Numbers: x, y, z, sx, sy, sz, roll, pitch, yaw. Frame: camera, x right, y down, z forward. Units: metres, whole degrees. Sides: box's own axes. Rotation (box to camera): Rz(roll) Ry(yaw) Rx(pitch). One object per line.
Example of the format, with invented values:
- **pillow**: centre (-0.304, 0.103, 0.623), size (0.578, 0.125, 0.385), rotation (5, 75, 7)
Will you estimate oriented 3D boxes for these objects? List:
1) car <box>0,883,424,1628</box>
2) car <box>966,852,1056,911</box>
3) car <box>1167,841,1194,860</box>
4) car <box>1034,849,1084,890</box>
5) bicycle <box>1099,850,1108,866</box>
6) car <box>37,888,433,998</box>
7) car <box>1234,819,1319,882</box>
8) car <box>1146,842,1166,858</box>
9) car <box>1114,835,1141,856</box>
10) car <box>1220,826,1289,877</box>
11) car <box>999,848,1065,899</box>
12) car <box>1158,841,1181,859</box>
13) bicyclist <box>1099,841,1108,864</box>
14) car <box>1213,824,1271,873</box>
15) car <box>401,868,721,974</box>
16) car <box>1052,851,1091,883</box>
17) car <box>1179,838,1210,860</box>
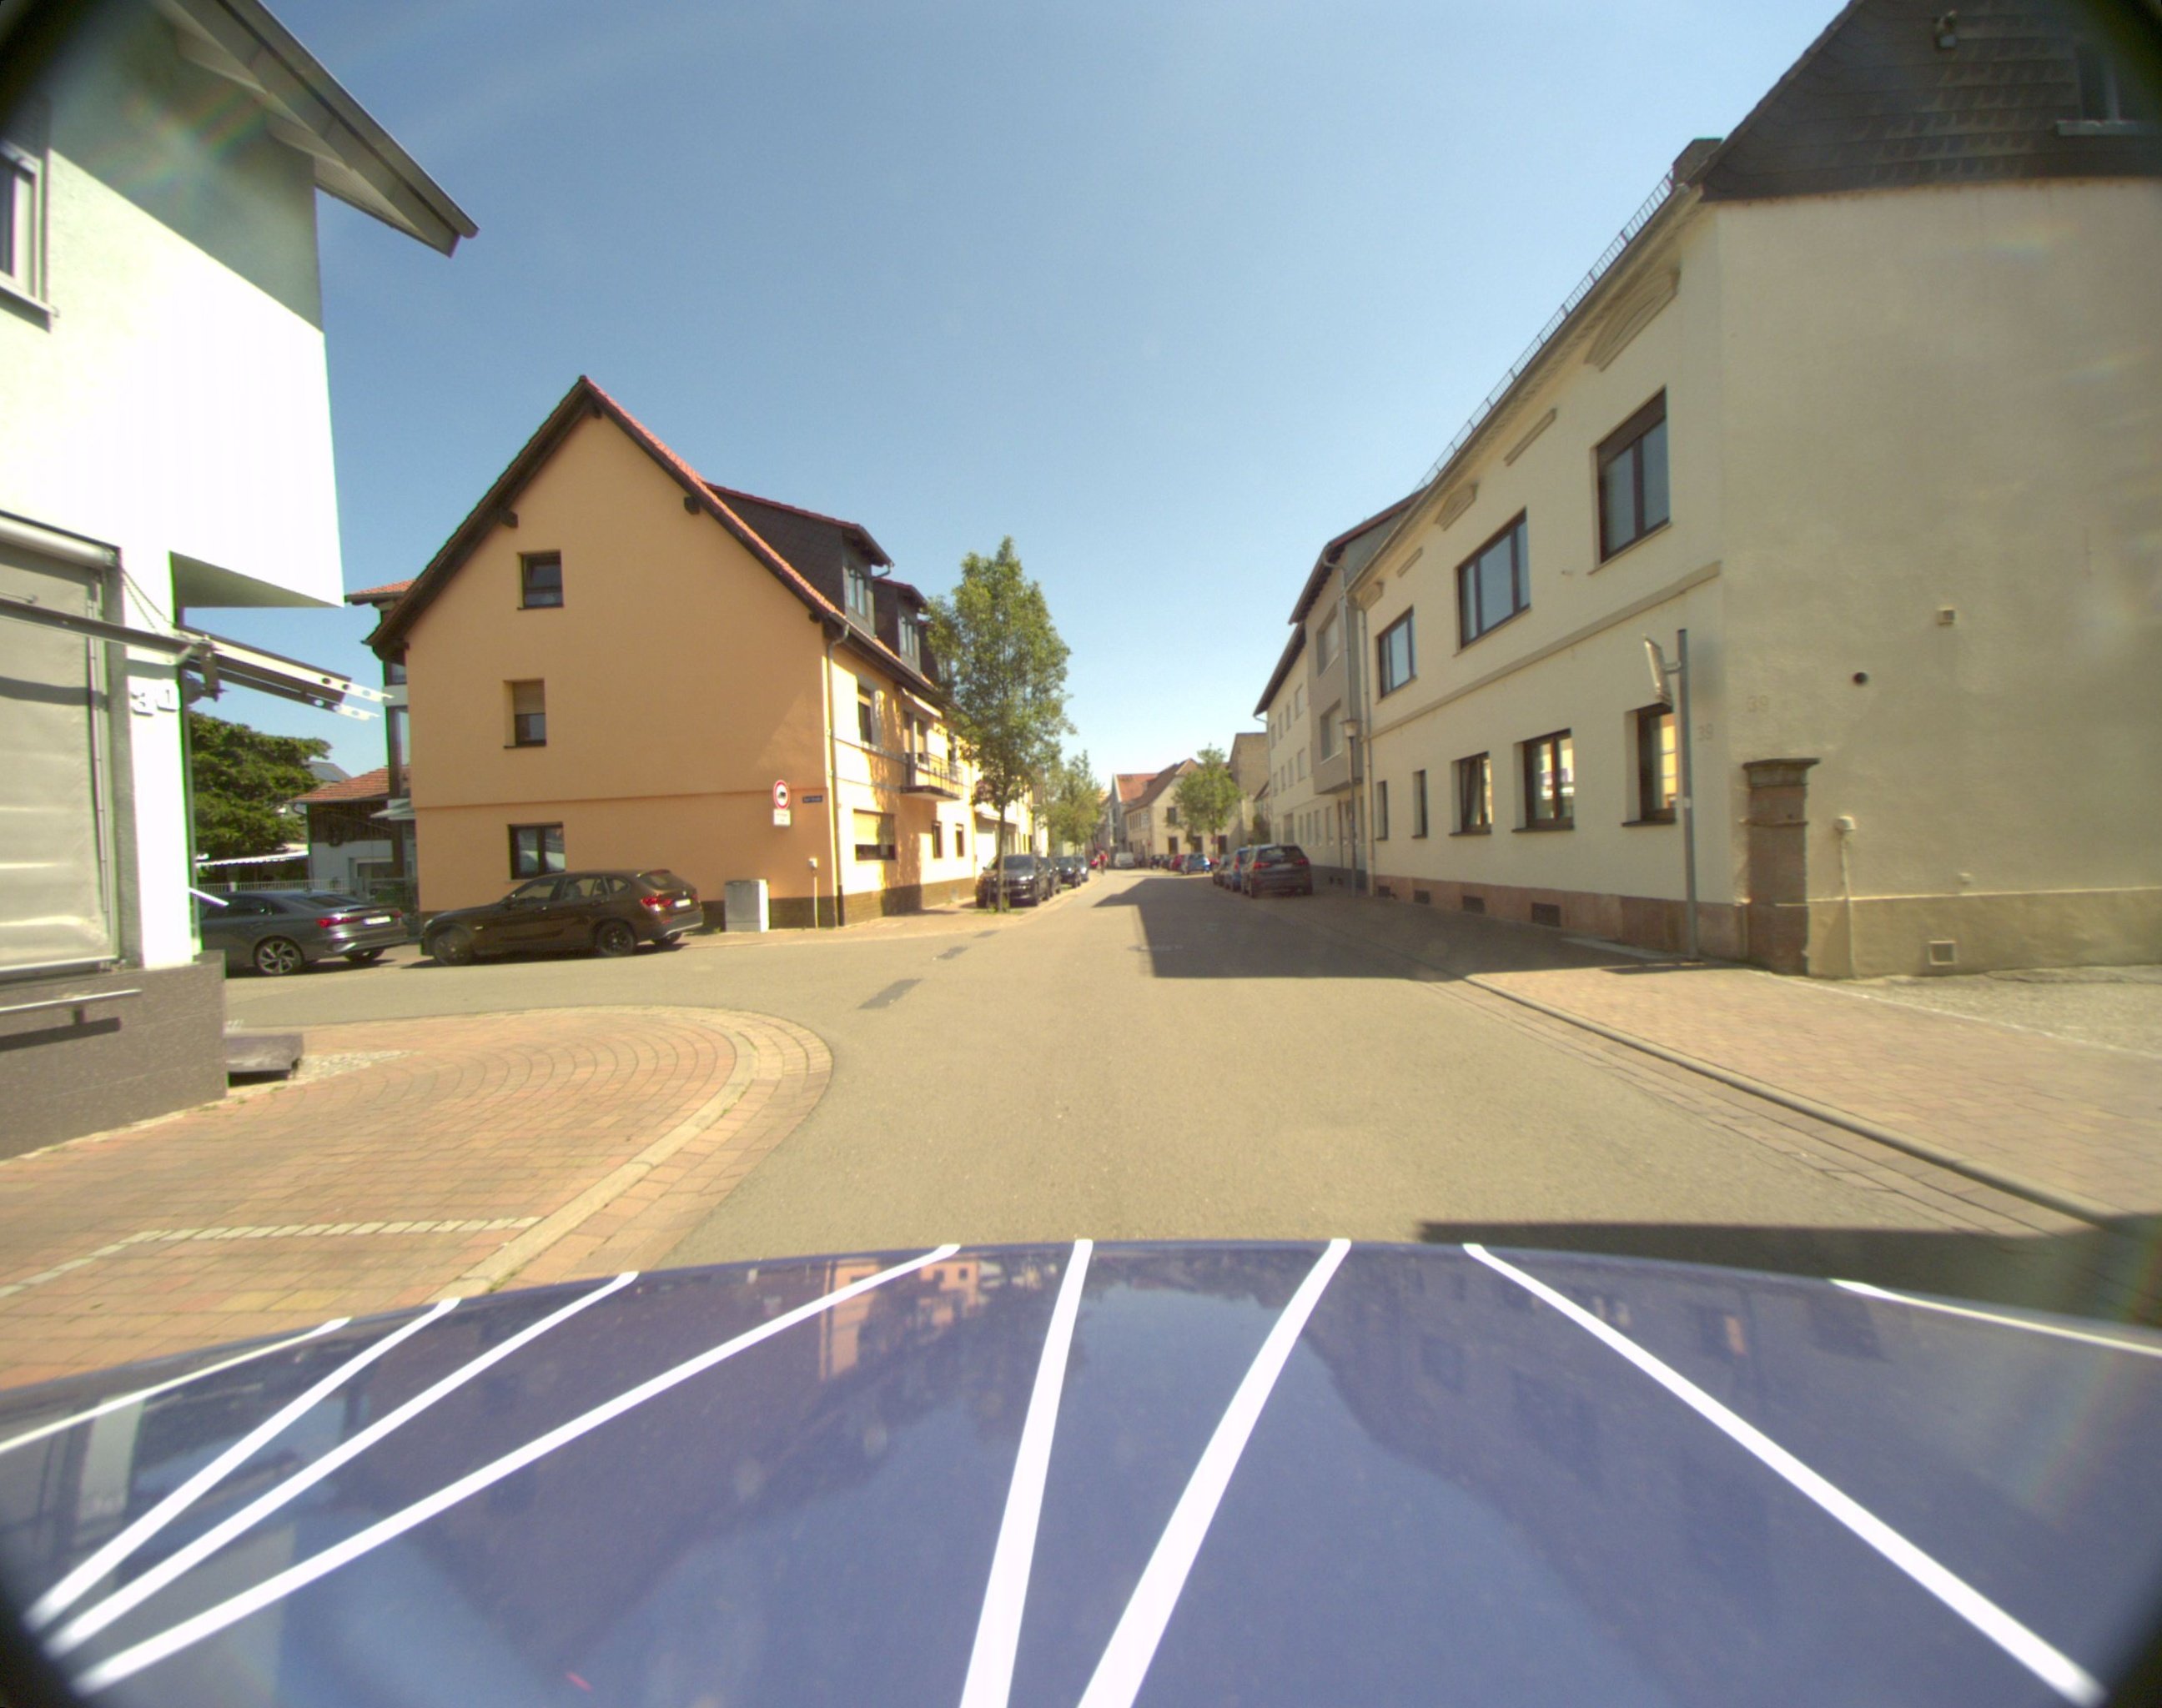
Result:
- **car**: centre (-3.185, 0.928, 0.641), size (1.715, 1.534, 3.997), rotation (-3, 1, 0)
- **car**: centre (-2.108, 0.803, 24.232), size (1.928, 1.594, 4.110), rotation (-2, 1, 7)
- **car**: centre (7.895, -0.289, 60.730), size (1.571, 1.452, 3.801), rotation (-3, 1, -1)
- **car**: centre (-0.994, 0.703, 36.894), size (1.998, 1.759, 4.109), rotation (-3, 1, 4)
- **bicycle**: centre (1.771, 0.320, 60.059), size (0.635, 1.228, 1.893), rotation (-3, 1, 2)
- **car**: centre (-14.386, 1.462, 13.198), size (4.323, 1.410, 1.999), rotation (-3, 1, -5)
- **car**: centre (5.989, -0.120, 23.689), size (1.863, 1.620, 4.048), rotation (-5, 0, 6)
- **car**: centre (7.439, -0.439, 75.727), size (1.571, 1.452, 3.801), rotation (-3, 1, -1)
- **car**: centre (5.248, -0.969, 86.702), size (2.443, 2.224, 4.958), rotation (-3, 1, -3)
- **car**: centre (6.459, -0.117, 28.714), size (1.916, 1.605, 3.987), rotation (-5, 0, 6)
- **car**: centre (-1.833, 0.700, 29.701), size (1.998, 1.759, 4.109), rotation (-3, 1, 4)
- **car**: centre (7.959, -0.381, 68.723), size (1.571, 1.452, 3.801), rotation (-3, 1, -1)
- **bicyclist**: centre (1.753, -0.108, 60.086), size (0.645, 1.766, 0.721), rotation (-3, 1, 2)
- **car**: centre (6.986, -0.269, 33.372), size (1.998, 1.936, 4.109), rotation (-2, 1, 5)
- **car**: centre (-9.151, 1.136, 13.695), size (4.298, 1.474, 1.999), rotation (-3, 1, -1)
- **car**: centre (-0.515, 0.755, 45.693), size (1.998, 1.759, 4.108), rotation (-1, 1, 4)
- **car**: centre (8.094, -0.332, 54.446), size (1.571, 1.452, 3.801), rotation (-3, 1, -1)
